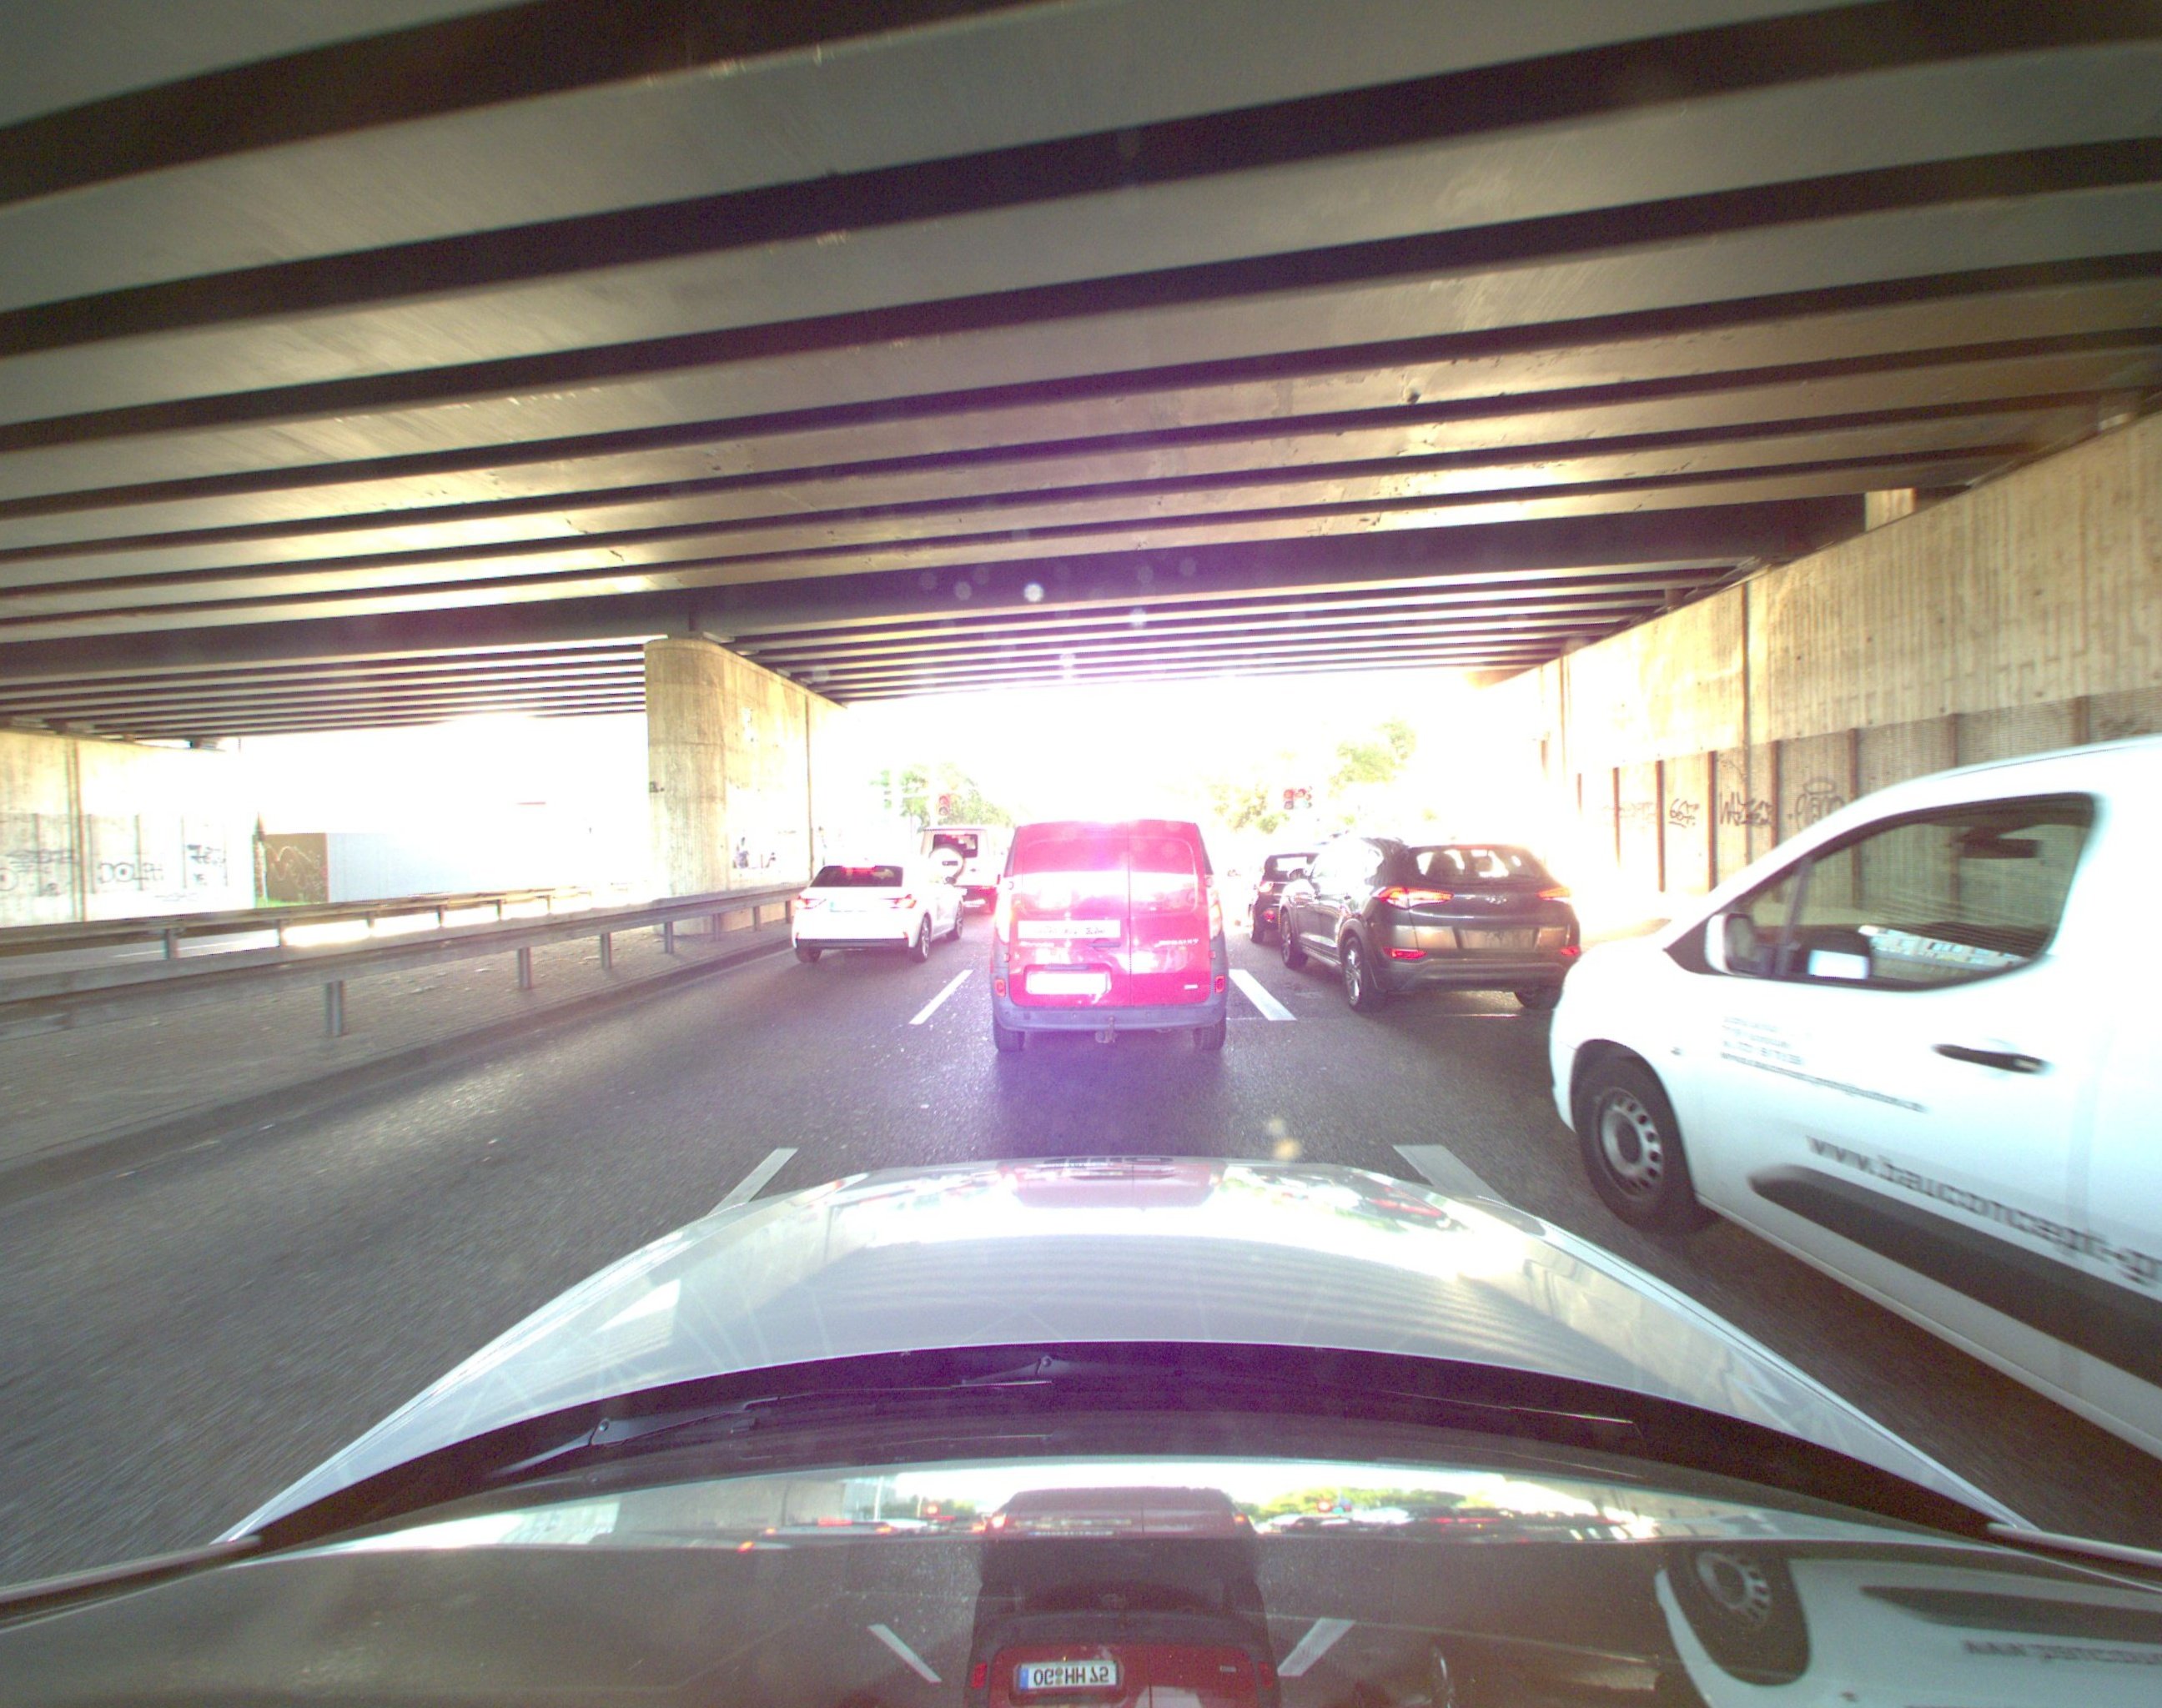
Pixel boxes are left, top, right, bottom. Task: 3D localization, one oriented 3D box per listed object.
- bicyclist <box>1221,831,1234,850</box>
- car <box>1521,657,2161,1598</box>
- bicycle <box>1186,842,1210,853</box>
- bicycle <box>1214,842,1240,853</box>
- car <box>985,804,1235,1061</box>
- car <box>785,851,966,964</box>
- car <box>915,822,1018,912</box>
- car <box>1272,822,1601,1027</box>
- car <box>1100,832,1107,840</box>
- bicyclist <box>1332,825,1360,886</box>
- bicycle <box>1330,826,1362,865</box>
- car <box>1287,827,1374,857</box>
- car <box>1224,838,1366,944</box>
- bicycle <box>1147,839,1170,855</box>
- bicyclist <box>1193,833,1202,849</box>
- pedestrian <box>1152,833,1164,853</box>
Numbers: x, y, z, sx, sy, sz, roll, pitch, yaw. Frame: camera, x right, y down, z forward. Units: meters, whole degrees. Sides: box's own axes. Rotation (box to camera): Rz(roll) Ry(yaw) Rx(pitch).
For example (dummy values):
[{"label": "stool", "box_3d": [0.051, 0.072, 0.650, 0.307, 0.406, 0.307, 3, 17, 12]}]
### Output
[{"label": "bicyclist", "box_3d": [11.673, -1.064, 64.860, 0.754, 1.542, 0.694, -1, 0, -9]}, {"label": "car", "box_3d": [3.004, 0.523, 1.774, 1.807, 1.833, 4.300, -1, 1, 0]}, {"label": "bicycle", "box_3d": [9.477, -0.531, 65.979, 1.908, 0.867, 0.605, -1, 0, -2]}, {"label": "bicycle", "box_3d": [11.609, -0.504, 64.840, 1.952, 0.874, 0.697, -1, 0, -9]}, {"label": "car", "box_3d": [0.269, 0.531, 7.614, 1.712, 1.764, 4.002, -1, 0, 2]}, {"label": "car", "box_3d": [-2.864, 0.671, 12.207, 1.687, 1.410, 3.813, -1, 0, 1]}, {"label": "car", "box_3d": [-2.620, 0.267, 19.442, 1.807, 1.904, 3.814, -1, 0, 1]}, {"label": "car", "box_3d": [3.341, 0.547, 8.582, 1.772, 1.655, 3.990, 0, 1, 0]}, {"label": "car", "box_3d": [6.201, -4.865, 221.399, 1.986, 2.013, 4.002, 0, 0, 2]}, {"label": "bicyclist", "box_3d": [7.171, 0.030, 22.070, 0.673, 1.629, 0.646, 0, 0, 12]}, {"label": "bicycle", "box_3d": [7.172, -0.217, 22.079, 0.672, 1.024, 1.534, 0, 0, 13]}, {"label": "car", "box_3d": [14.001, -0.656, 45.886, 4.334, 1.607, 1.999, 0, 0, -2]}, {"label": "car", "box_3d": [3.489, 0.507, 13.914, 1.645, 1.552, 3.868, 0, 1, 4]}, {"label": "bicycle", "box_3d": [6.092, -0.537, 64.140, 1.726, 1.233, 0.557, -1, 0, -5]}, {"label": "bicyclist", "box_3d": [9.422, -1.036, 65.967, 0.651, 1.329, 0.602, 0, 0, -1]}, {"label": "pedestrian", "box_3d": [6.097, -0.829, 64.144, 0.835, 1.554, 0.556, -1, 0, -4]}]
